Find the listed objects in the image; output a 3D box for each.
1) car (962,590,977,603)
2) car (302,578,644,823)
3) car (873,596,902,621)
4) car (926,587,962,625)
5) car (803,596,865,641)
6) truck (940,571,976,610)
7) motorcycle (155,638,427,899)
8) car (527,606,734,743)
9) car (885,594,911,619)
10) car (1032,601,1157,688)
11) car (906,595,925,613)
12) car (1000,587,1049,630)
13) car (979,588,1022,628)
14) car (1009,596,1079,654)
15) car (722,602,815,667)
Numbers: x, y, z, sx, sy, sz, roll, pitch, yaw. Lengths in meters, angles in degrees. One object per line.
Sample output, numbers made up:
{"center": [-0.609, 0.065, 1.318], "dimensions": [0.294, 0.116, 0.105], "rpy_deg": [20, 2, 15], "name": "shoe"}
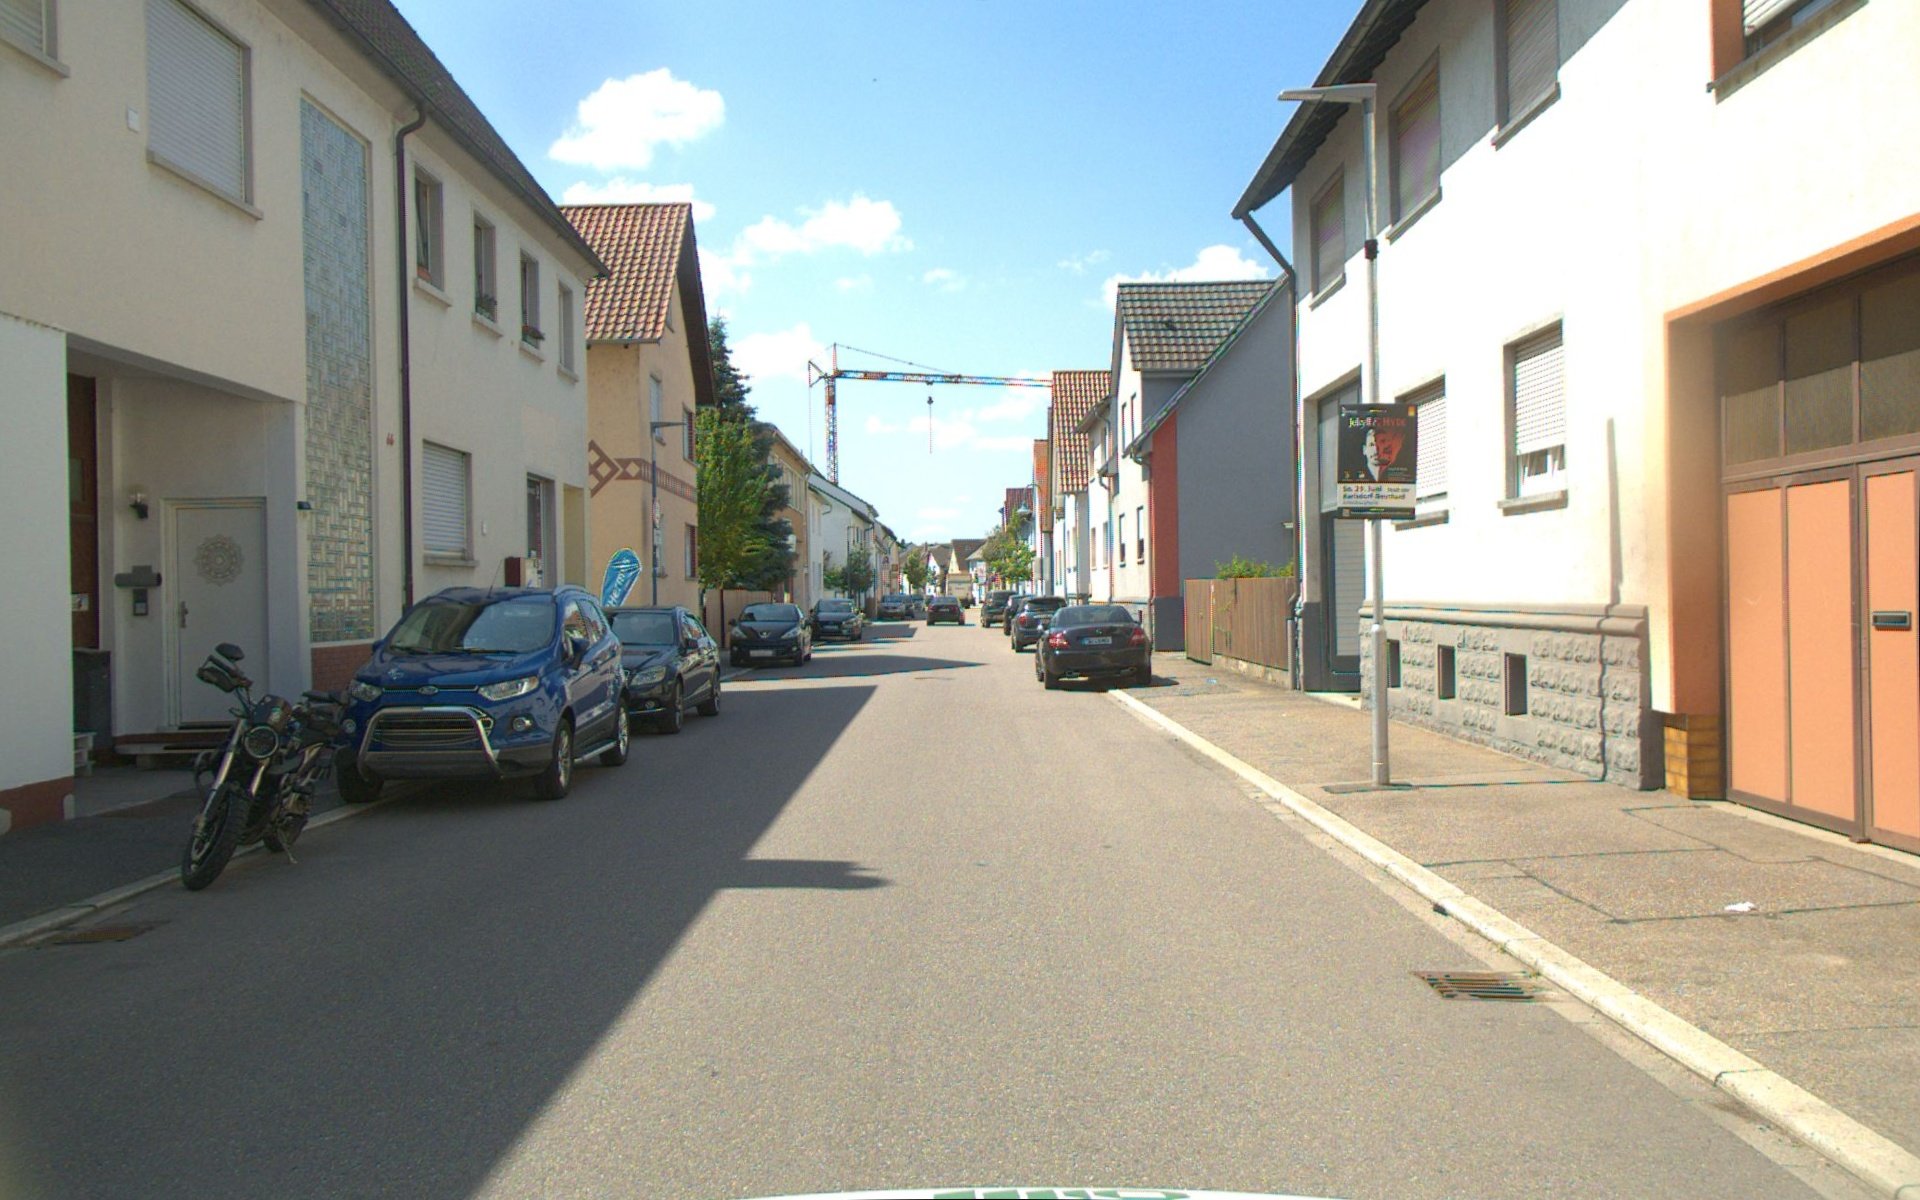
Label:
{"center": [1.189, -0.437, 214.913], "dimensions": [1.747, 1.591, 4.335], "rpy_deg": [-3, 0, -2], "name": "car"}
{"center": [-3.917, 0.715, 14.045], "dimensions": [1.683, 1.668, 4.147], "rpy_deg": [-3, 0, -2], "name": "car"}
{"center": [-4.743, 0.553, 108.850], "dimensions": [1.723, 1.551, 4.288], "rpy_deg": [-2, 0, -1], "name": "car"}
{"center": [-0.833, 0.313, 83.942], "dimensions": [1.747, 1.784, 3.999], "rpy_deg": [-3, 0, -1], "name": "car"}
{"center": [-4.473, 0.640, 59.350], "dimensions": [1.731, 1.485, 4.437], "rpy_deg": [-2, 0, 1], "name": "car"}
{"center": [-0.294, -0.952, 177.192], "dimensions": [3.311, 3.932, 13.921], "rpy_deg": [-3, 0, -2], "name": "truck"}
{"center": [-3.978, 0.938, 10.053], "dimensions": [0.792, 1.335, 2.105], "rpy_deg": [-1, 0, -1], "name": "motorcycle"}
{"center": [-3.954, 0.834, 20.527], "dimensions": [1.663, 1.436, 4.390], "rpy_deg": [-1, 0, 0], "name": "car"}
{"center": [-4.325, 0.450, 115.770], "dimensions": [1.620, 1.637, 4.060], "rpy_deg": [-2, 0, -1], "name": "car"}
{"center": [2.203, 0.697, 28.041], "dimensions": [1.778, 1.298, 4.147], "rpy_deg": [-2, 0, 0], "name": "car"}
{"center": [-4.148, 0.373, 155.058], "dimensions": [1.688, 1.583, 4.172], "rpy_deg": [0, 0, 0], "name": "car"}
{"center": [2.484, 0.300, 64.471], "dimensions": [1.584, 1.521, 3.971], "rpy_deg": [-4, 0, -1], "name": "car"}
{"center": [1.858, 0.354, 76.984], "dimensions": [1.694, 1.747, 4.274], "rpy_deg": [-2, 0, -2], "name": "car"}
{"center": [2.219, 0.638, 44.461], "dimensions": [1.654, 1.447, 3.656], "rpy_deg": [-2, 0, 0], "name": "car"}
{"center": [-4.414, 0.756, 38.577], "dimensions": [1.725, 1.398, 4.066], "rpy_deg": [-1, 0, -1], "name": "car"}
